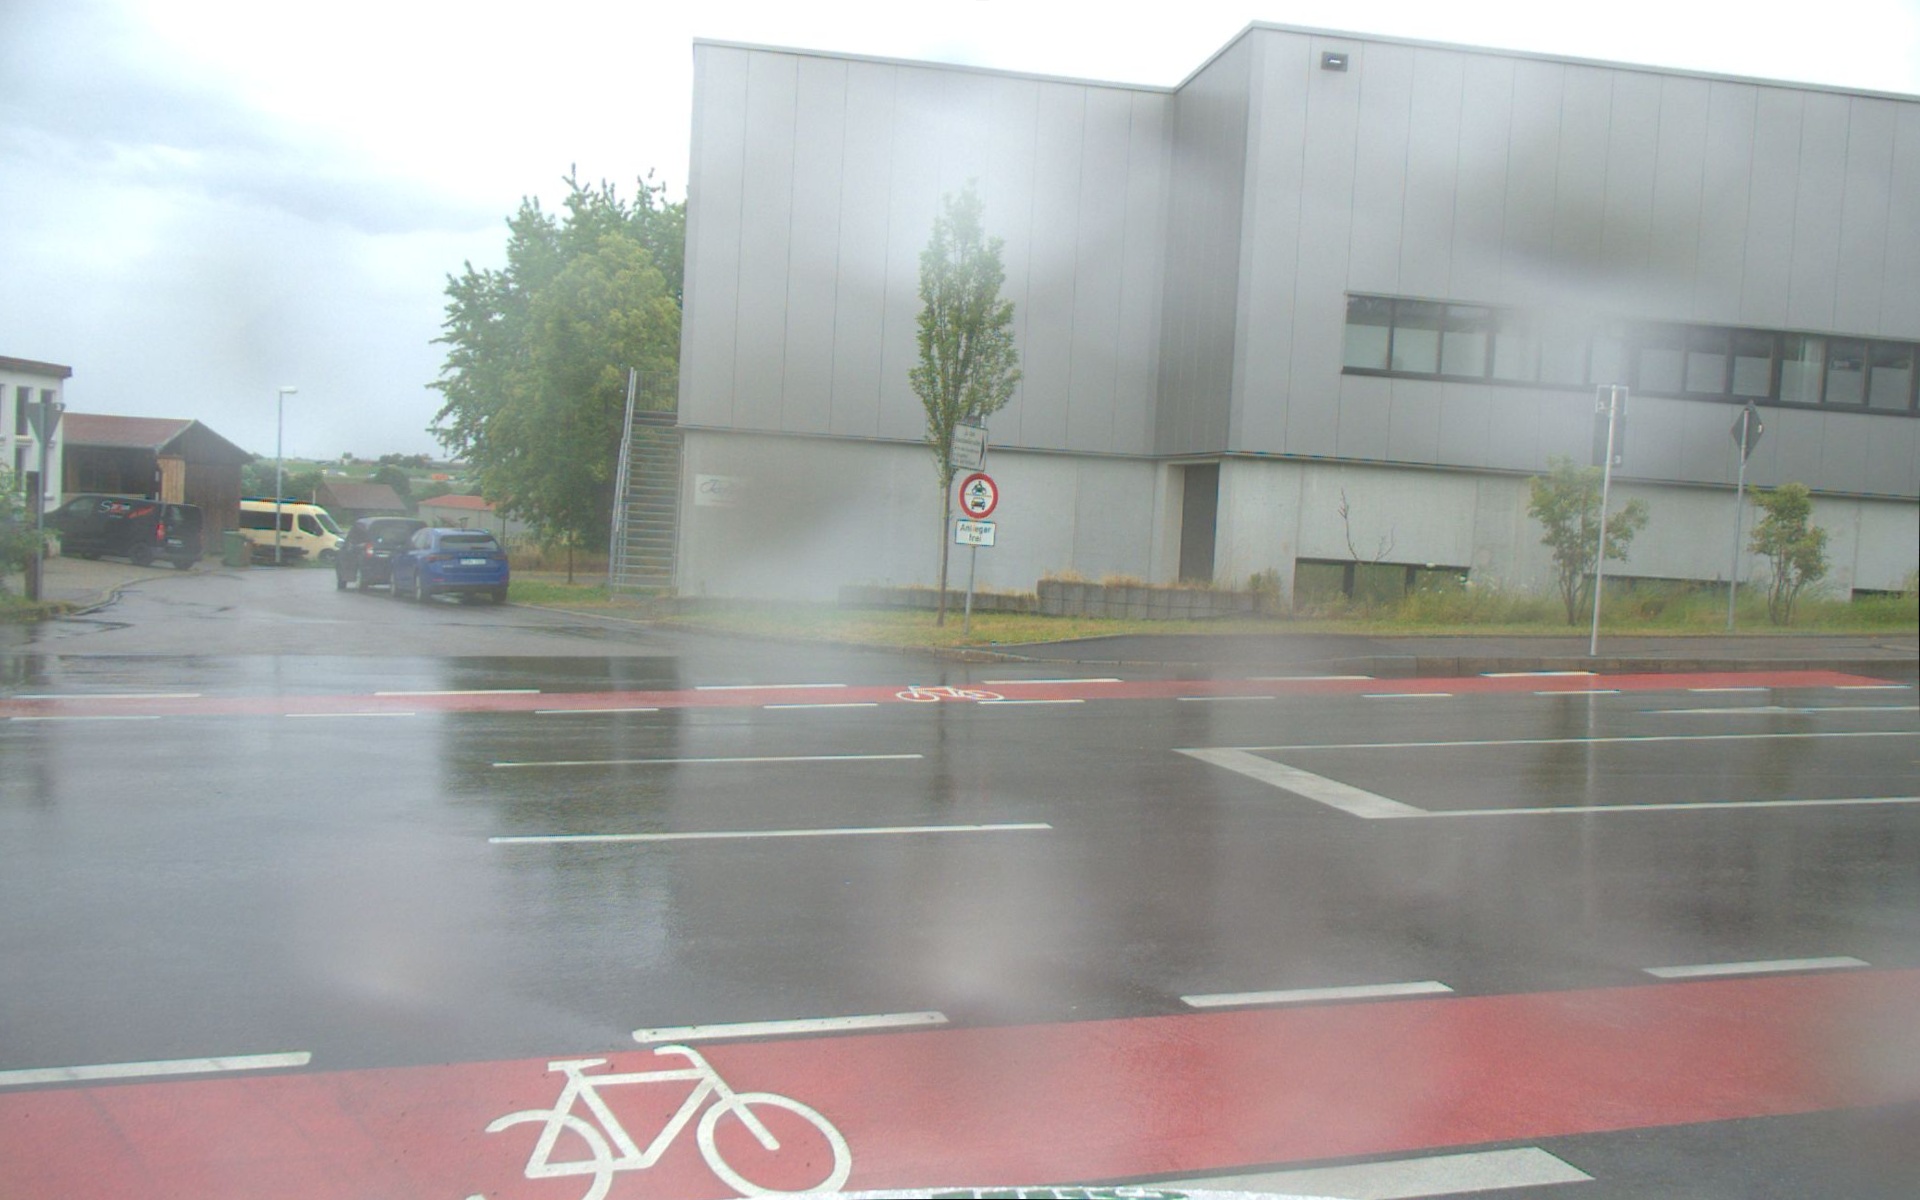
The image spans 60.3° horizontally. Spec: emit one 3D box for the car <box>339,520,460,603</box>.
[{"bbox_3d":[-13.468,-0.929,39.575,2.050,1.866,4.429,1,1,-28],"label":"car"}]

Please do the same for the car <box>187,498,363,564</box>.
[{"bbox_3d":[-26.946,-2.698,65.247,5.890,2.457,2.462,1,1,-4],"label":"car"}]

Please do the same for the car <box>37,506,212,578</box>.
[{"bbox_3d":[-23.856,-1.652,47.273,4.304,1.938,2.001,2,1,18],"label":"car"}]

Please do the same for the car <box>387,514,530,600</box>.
[{"bbox_3d":[-10.446,-0.899,34.218,1.931,1.638,4.404,0,1,-29],"label":"car"}]
